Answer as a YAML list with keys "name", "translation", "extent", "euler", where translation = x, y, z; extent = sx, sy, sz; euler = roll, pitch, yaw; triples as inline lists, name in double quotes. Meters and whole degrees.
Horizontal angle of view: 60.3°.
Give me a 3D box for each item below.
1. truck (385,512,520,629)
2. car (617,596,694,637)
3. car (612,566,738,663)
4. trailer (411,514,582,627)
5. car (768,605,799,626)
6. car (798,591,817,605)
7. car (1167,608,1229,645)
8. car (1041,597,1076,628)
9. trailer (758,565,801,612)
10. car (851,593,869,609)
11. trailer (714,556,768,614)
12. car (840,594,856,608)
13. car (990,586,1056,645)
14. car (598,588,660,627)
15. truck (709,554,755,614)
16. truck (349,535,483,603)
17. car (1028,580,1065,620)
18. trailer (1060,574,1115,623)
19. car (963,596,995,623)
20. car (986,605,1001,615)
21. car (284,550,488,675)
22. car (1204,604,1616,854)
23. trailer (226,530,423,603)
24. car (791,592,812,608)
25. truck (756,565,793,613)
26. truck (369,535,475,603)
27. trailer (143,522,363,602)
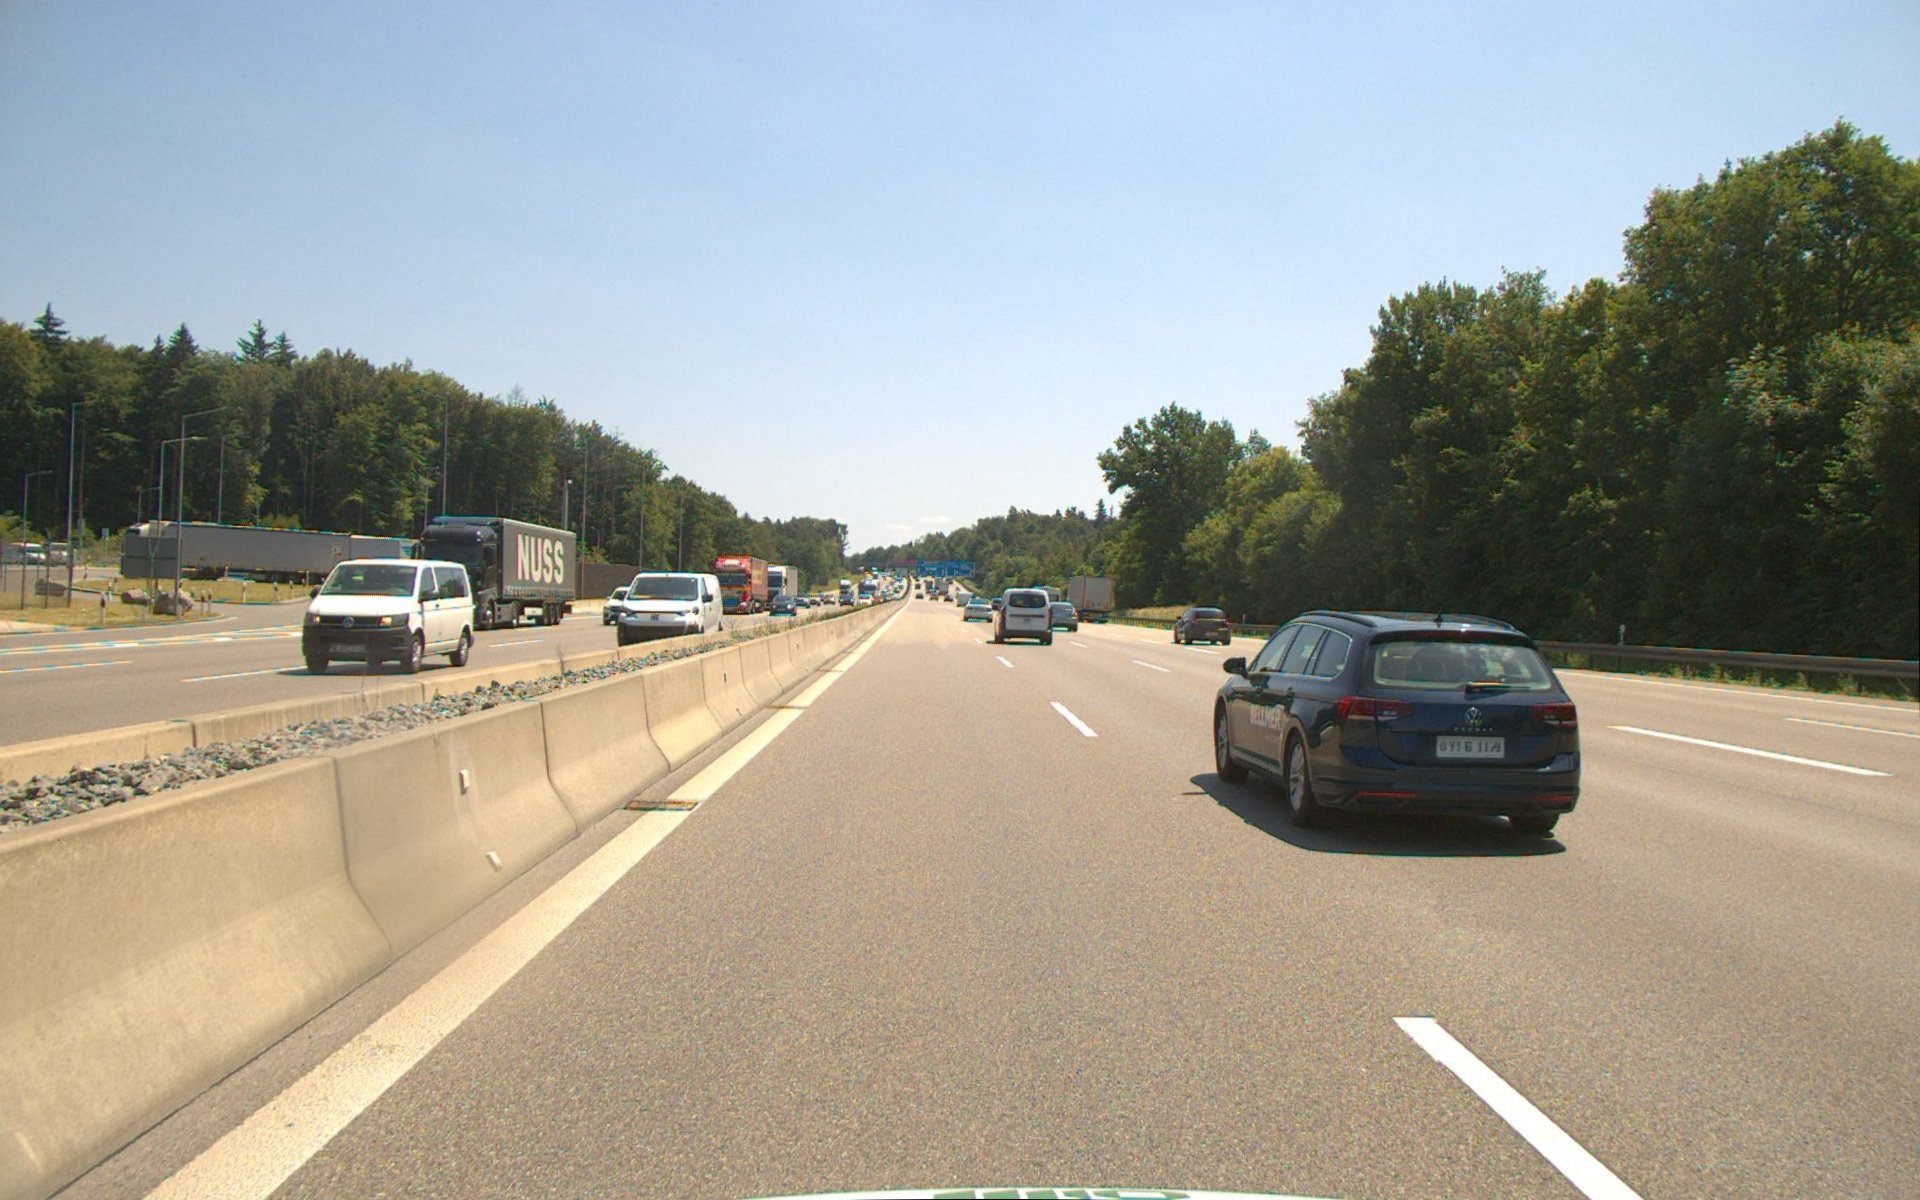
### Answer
- name: "truck"
  translation: [-18.351, -1.023, 60.155]
  extent: [3.221, 3.999, 5.537]
  euler: [1, 0, -2]
- name: "car"
  translation: [-11.039, 0.581, 60.280]
  extent: [1.953, 1.401, 5.009]
  euler: [1, 0, -1]
- name: "car"
  translation: [-6.642, 0.320, 39.132]
  extent: [2.035, 2.079, 5.710]
  euler: [1, 0, -1]
- name: "trailer"
  translation: [-18.595, -1.074, 67.618]
  extent: [3.275, 4.071, 14.274]
  euler: [1, 0, -2]
- name: "car"
  translation: [-12.280, 1.060, 115.296]
  extent: [1.784, 1.411, 4.314]
  euler: [1, 0, -2]
- name: "car"
  translation: [-19.697, -0.250, 213.973]
  extent: [1.953, 1.805, 5.921]
  euler: [2, 0, -2]
- name: "car"
  translation: [9.232, 0.992, 64.418]
  extent: [1.637, 1.296, 4.288]
  euler: [3, 0, -2]
- name: "car"
  translation: [5.008, 0.637, 84.188]
  extent: [1.473, 1.527, 3.649]
  euler: [1, 0, -1]
- name: "trailer"
  translation: [-16.718, -1.042, 154.124]
  extent: [2.699, 4.071, 14.462]
  euler: [1, 0, -2]
- name: "car"
  translation: [-11.634, 0.162, 192.968]
  extent: [1.953, 1.805, 5.037]
  euler: [2, 0, -2]
- name: "trailer"
  translation: [-16.667, -1.123, 126.554]
  extent: [2.519, 4.120, 14.177]
  euler: [1, 0, -2]
- name: "car"
  translation: [-15.281, 0.105, 225.801]
  extent: [1.953, 1.805, 5.921]
  euler: [2, 0, -2]
- name: "car"
  translation: [2.085, 0.501, 55.846]
  extent: [1.822, 1.857, 4.610]
  euler: [1, 0, -2]
- name: "car"
  translation: [-14.892, 0.318, 74.742]
  extent: [1.953, 1.699, 4.611]
  euler: [1, 0, -2]
- name: "truck"
  translation: [-16.442, -1.124, 119.712]
  extent: [2.477, 4.120, 6.470]
  euler: [1, 0, -2]
- name: "truck"
  translation: [-49.466, -2.768, 150.774]
  extent: [3.172, 5.711, 11.465]
  euler: [2, 0, 42]
- name: "car"
  translation: [6.157, -0.018, 118.227]
  extent: [2.100, 2.698, 5.708]
  euler: [3, 1, -2]
- name: "trailer"
  translation: [11.530, -0.244, 151.171]
  extent: [3.222, 3.998, 13.885]
  euler: [4, 1, -2]
- name: "car"
  translation: [1.220, 0.595, 106.649]
  extent: [1.806, 1.657, 4.551]
  euler: [1, 0, -2]
- name: "car"
  translation: [4.699, 1.389, 232.291]
  extent: [1.798, 1.361, 3.642]
  euler: [1, 0, -2]
- name: "car"
  translation: [-10.311, 0.220, 30.178]
  extent: [1.953, 2.049, 5.128]
  euler: [1, 0, -1]
- name: "car"
  translation: [3.101, 0.793, 12.523]
  extent: [1.694, 1.472, 4.960]
  euler: [1, 0, -1]
- name: "trailer"
  translation: [-49.778, -2.548, 130.174]
  extent: [3.167, 5.161, 14.473]
  euler: [2, 0, 42]
- name: "car"
  translation: [-17.760, 0.004, 185.173]
  extent: [1.953, 1.805, 5.037]
  euler: [2, 0, -2]
- name: "truck"
  translation: [-16.497, -0.940, 147.511]
  extent: [2.679, 4.102, 6.779]
  euler: [1, 0, -2]
- name: "truck"
  translation: [-47.909, -2.735, 147.474]
  extent: [3.172, 5.711, 8.435]
  euler: [2, 0, 42]
- name: "trailer"
  translation: [-50.566, -2.597, 118.897]
  extent: [3.075, 5.161, 14.473]
  euler: [2, 0, 42]
